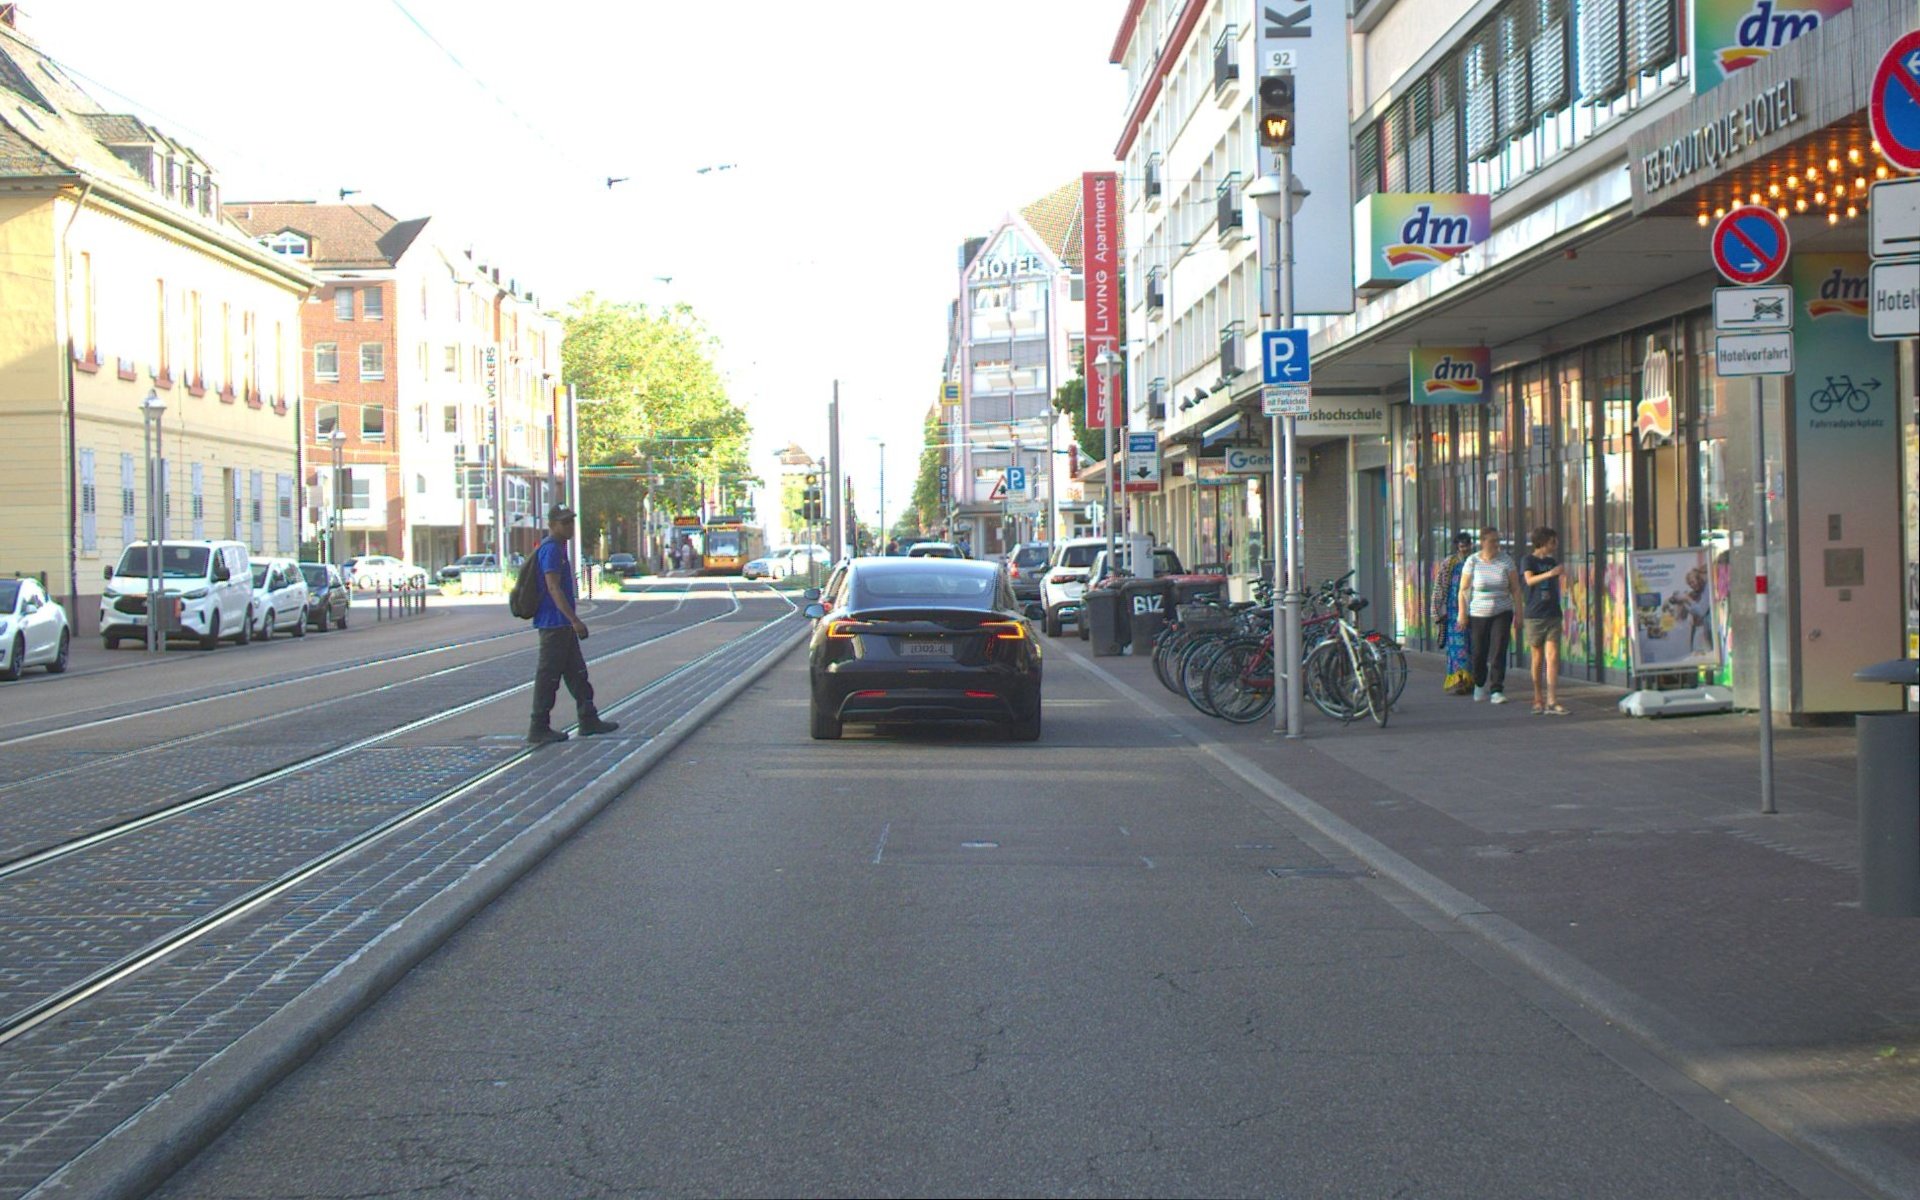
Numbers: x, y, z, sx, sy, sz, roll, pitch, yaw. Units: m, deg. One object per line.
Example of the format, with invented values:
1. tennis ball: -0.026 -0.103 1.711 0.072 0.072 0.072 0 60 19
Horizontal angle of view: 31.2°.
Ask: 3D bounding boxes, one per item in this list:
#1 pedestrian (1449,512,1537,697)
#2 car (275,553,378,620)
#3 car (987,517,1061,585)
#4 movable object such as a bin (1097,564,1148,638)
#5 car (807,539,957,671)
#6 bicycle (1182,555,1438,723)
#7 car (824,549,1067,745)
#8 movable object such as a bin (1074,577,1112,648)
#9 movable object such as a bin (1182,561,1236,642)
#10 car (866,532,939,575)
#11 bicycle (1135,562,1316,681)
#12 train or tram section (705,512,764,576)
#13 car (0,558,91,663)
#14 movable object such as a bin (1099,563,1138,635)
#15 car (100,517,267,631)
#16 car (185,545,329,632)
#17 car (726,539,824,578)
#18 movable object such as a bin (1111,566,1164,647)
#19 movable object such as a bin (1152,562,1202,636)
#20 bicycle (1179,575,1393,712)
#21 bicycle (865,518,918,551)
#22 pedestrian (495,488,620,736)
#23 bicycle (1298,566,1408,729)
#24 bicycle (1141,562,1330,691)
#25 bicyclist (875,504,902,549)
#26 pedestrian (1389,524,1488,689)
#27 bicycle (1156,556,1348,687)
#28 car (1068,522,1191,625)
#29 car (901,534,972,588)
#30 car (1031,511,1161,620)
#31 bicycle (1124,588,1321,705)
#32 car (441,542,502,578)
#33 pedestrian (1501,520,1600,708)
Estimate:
1. pedestrian: 4.680 0.038 30.197 0.581 1.580 0.598 -3 1 -2
2. car: -13.723 -0.307 74.634 1.614 1.396 3.720 1 1 -1
3. car: 1.611 -1.270 87.459 1.745 1.626 3.649 -2 1 0
4. movable object such as a bin: 2.283 0.011 48.427 0.686 1.010 0.508 -2 1 2
5. car: -0.873 0.019 40.484 1.653 1.413 4.000 1 2 0
6. bicycle: 2.981 0.322 29.306 2.035 1.270 0.525 -4 1 -10
7. car: -0.169 0.331 28.092 1.849 1.479 3.787 0 1 -2
8. movable object such as a bin: 1.847 0.170 47.834 0.487 0.955 0.457 -2 1 3
9. movable object such as a bin: 3.451 0.018 47.636 0.690 1.085 0.666 -2 1 3
10. car: -2.132 -1.731 126.626 1.824 1.514 4.219 1 1 -13
11. bicycle: 2.744 0.215 35.645 1.787 1.155 0.669 -2 1 -1
12. train or tram section: -13.538 -3.350 207.394 2.674 3.703 14.193 1 1 0
13. car: -14.002 0.114 49.621 1.888 1.416 4.657 1 1 -2
14. movable object such as a bin: 2.262 -0.019 49.182 0.522 1.010 0.671 -2 1 2
15. car: -14.151 -0.494 62.922 1.993 1.968 5.097 1 1 -1
16. car: -14.118 -0.254 69.279 1.808 1.680 4.648 1 1 2
17. car: -8.494 -1.914 157.686 3.986 1.672 2.001 -2 1 -22
18. movable object such as a bin: 2.459 0.084 47.649 0.690 1.085 0.685 -2 1 3
19. movable object such as a bin: 3.050 -0.024 48.344 0.658 1.010 0.636 -2 1 2
20. bicycle: 2.850 0.375 30.098 1.773 1.127 0.479 -2 1 -6
21. bicycle: -2.319 -2.212 116.181 1.727 1.084 0.678 1 1 -8
22. pedestrian: -3.058 0.083 26.185 0.804 1.831 0.746 -3 1 -2
23. bicycle: 3.194 0.371 28.021 0.581 1.253 1.602 -3 1 -2
24. bicycle: 2.755 0.257 34.477 1.787 1.213 0.669 -2 1 -1
25. bicyclist: -2.410 -2.480 116.169 0.836 1.494 0.560 1 1 -8
26. pedestrian: 4.417 0.058 31.724 0.581 1.481 0.597 -4 1 -32
27. bicycle: 2.864 0.202 33.779 1.787 1.213 0.587 -2 1 -1
28. car: 2.660 -0.440 54.604 1.614 1.523 4.071 -2 1 -1
29. car: -0.701 -1.143 99.689 1.783 1.514 4.219 1 1 -4
30. car: 2.315 -0.616 59.697 1.849 1.718 5.193 -3 1 -1
31. bicycle: 2.465 0.434 32.362 1.773 1.028 0.597 -2 1 -1
32. car: -20.314 -1.674 143.060 1.903 1.459 4.000 1 1 1
33. pedestrian: 4.814 0.109 28.062 0.581 1.488 0.525 -3 1 -9
